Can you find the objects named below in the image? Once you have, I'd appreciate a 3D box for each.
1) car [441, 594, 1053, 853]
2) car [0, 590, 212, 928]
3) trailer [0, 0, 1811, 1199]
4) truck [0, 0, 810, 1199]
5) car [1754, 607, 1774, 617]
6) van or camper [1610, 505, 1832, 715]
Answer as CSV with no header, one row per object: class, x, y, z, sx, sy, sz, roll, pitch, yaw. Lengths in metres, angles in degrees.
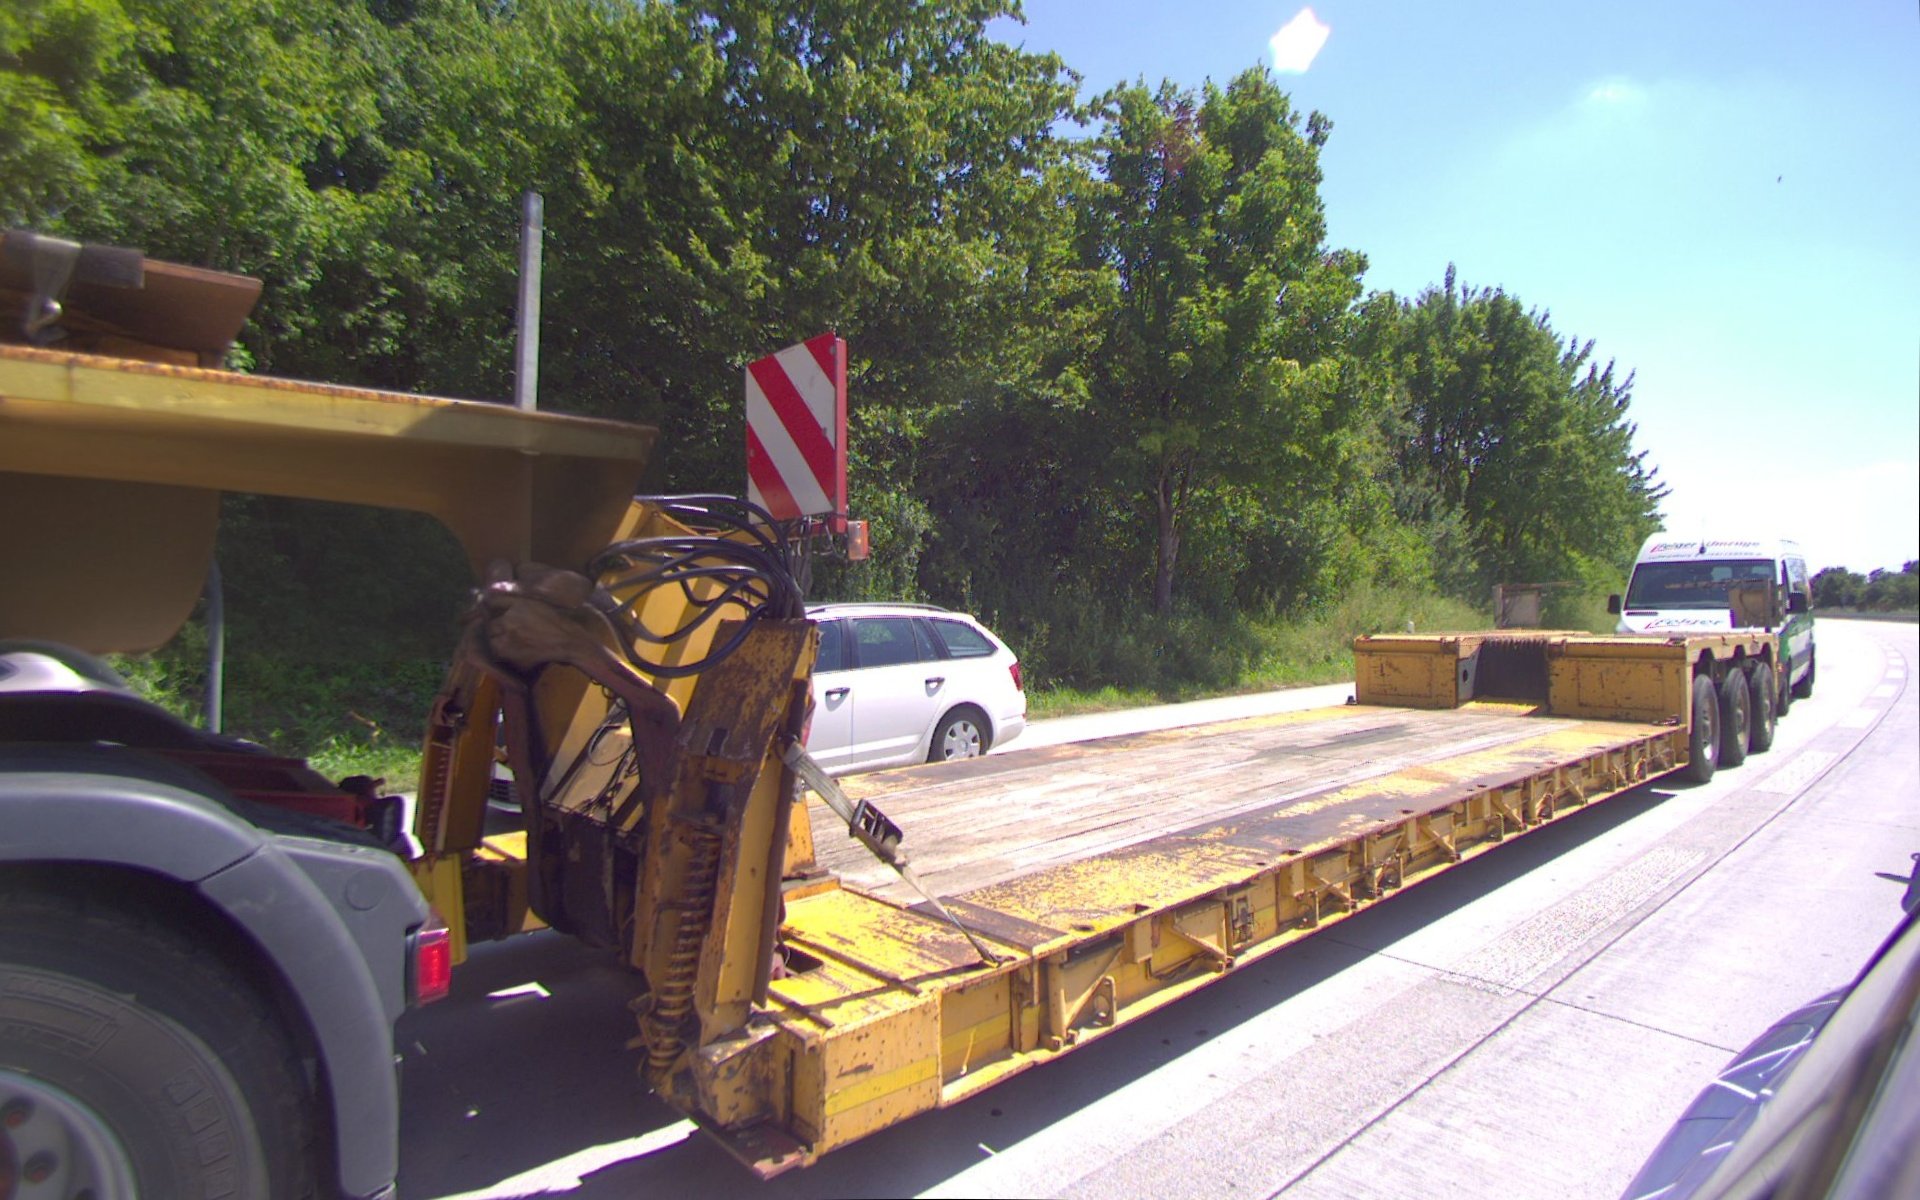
car,-1.428,0.701,8.044,4.521,1.480,1.769,0,0,-43
car,-5.831,0.711,4.162,4.290,1.480,1.770,-1,0,-42
trailer,1.848,0.108,6.195,16.076,2.626,3.031,0,0,-42
truck,-4.039,-0.503,0.844,7.342,3.820,3.017,0,0,-42
car,135.088,2.011,170.084,1.690,1.483,3.964,0,0,26
van or camper,11.745,0.087,15.410,2.063,2.606,5.815,0,0,43
